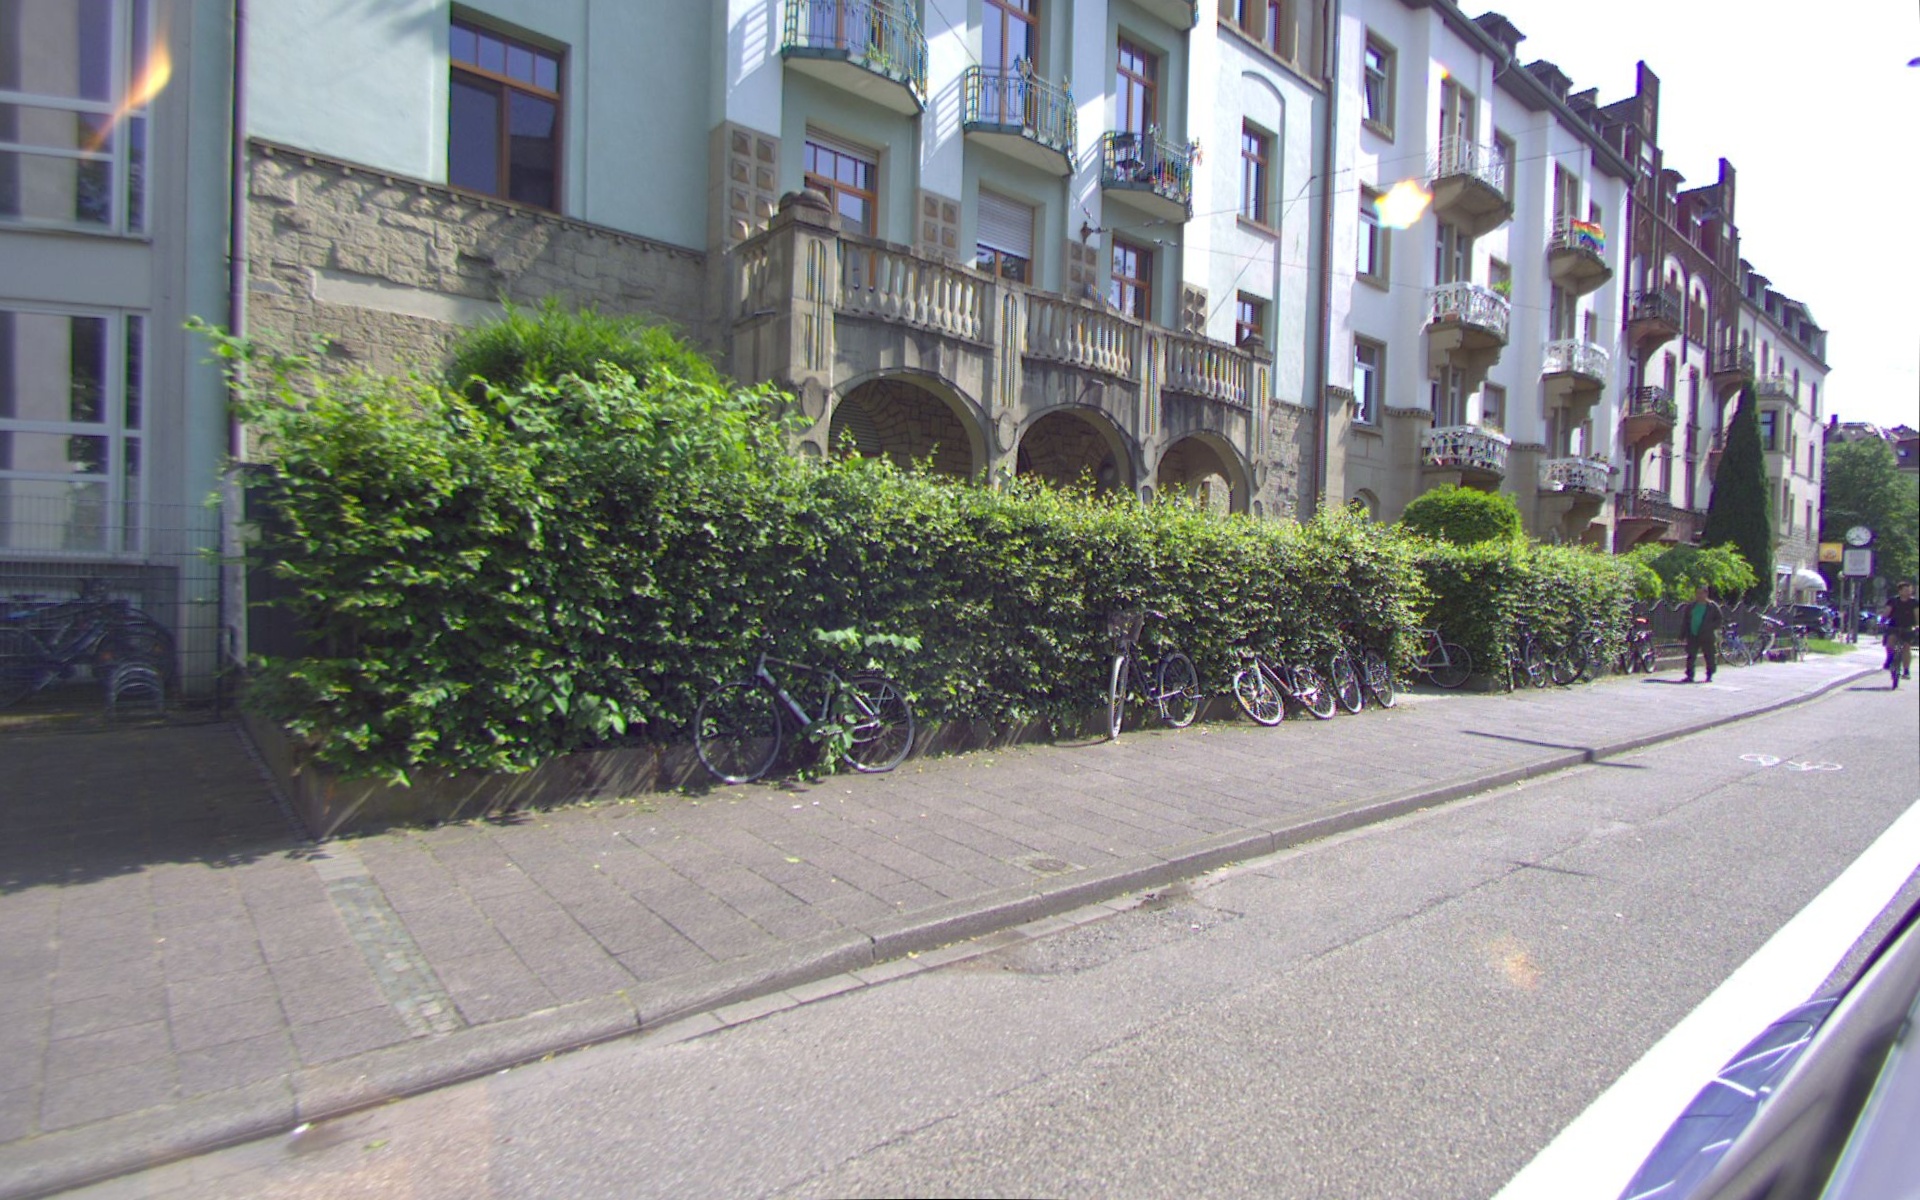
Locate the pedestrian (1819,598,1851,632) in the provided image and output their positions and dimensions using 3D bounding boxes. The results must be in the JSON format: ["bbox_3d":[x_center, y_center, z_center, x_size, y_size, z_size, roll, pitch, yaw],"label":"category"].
[{"bbox_3d":[51.512,0.875,59.602,0.834,1.787,1.015,2,9,-39],"label":"pedestrian"}]

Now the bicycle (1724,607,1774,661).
[{"bbox_3d":[17.715,0.748,22.707,1.811,1.136,0.452,1,3,-40],"label":"bicycle"}]

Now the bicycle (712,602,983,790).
[{"bbox_3d":[-0.701,0.585,6.899,1.975,1.122,0.280,0,5,-41],"label":"bicycle"}]

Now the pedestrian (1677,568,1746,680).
[{"bbox_3d":[13.202,0.399,17.780,0.788,1.884,0.571,5,3,43],"label":"pedestrian"}]

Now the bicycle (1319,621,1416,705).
[{"bbox_3d":[4.824,0.729,11.931,1.638,0.918,0.274,2,3,-41],"label":"bicycle"}]

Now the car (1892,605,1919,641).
[{"bbox_3d":[42.904,1.045,45.227,2.746,1.517,1.516,1,4,-43],"label":"car"}]

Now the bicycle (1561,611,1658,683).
[{"bbox_3d":[10.412,0.722,16.183,2.321,1.007,0.612,0,4,-41],"label":"bicycle"}]

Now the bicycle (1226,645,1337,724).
[{"bbox_3d":[3.325,0.842,10.395,1.531,0.685,0.280,0,5,-41],"label":"bicycle"}]

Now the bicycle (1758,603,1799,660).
[{"bbox_3d":[19.357,0.735,23.927,1.813,1.276,0.451,1,3,-44],"label":"bicycle"}]

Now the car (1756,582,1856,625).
[{"bbox_3d":[59.845,0.246,71.762,2.354,2.829,6.655,2,0,10],"label":"car"}]

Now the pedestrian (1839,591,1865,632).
[{"bbox_3d":[42.195,0.525,47.892,0.659,1.862,0.860,11,7,41],"label":"pedestrian"}]

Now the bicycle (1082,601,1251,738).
[{"bbox_3d":[1.912,0.579,9.162,1.975,1.122,0.280,0,5,-41],"label":"bicycle"}]

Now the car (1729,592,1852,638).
[{"bbox_3d":[33.049,0.566,40.332,1.935,1.542,3.412,1,3,-38],"label":"car"}]

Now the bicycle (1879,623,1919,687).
[{"bbox_3d":[18.027,1.023,19.171,1.804,1.057,0.617,-1,5,-41],"label":"bicycle"}]

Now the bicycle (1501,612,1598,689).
[{"bbox_3d":[8.579,0.698,14.702,1.839,1.001,0.613,0,3,-41],"label":"bicycle"}]

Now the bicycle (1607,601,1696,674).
[{"bbox_3d":[12.779,0.654,18.671,2.472,1.246,0.741,0,2,-41],"label":"bicycle"}]

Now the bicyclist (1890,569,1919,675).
[{"bbox_3d":[18.203,0.410,19.267,1.110,1.973,0.608,0,-1,-41],"label":"bicyclist"}]

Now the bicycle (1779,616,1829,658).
[{"bbox_3d":[22.314,0.958,26.734,3.015,0.972,0.600,1,5,-44],"label":"bicycle"}]

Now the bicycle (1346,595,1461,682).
[{"bbox_3d":[6.622,0.553,15.165,0.350,1.128,1.512,0,4,-40],"label":"bicycle"}]
